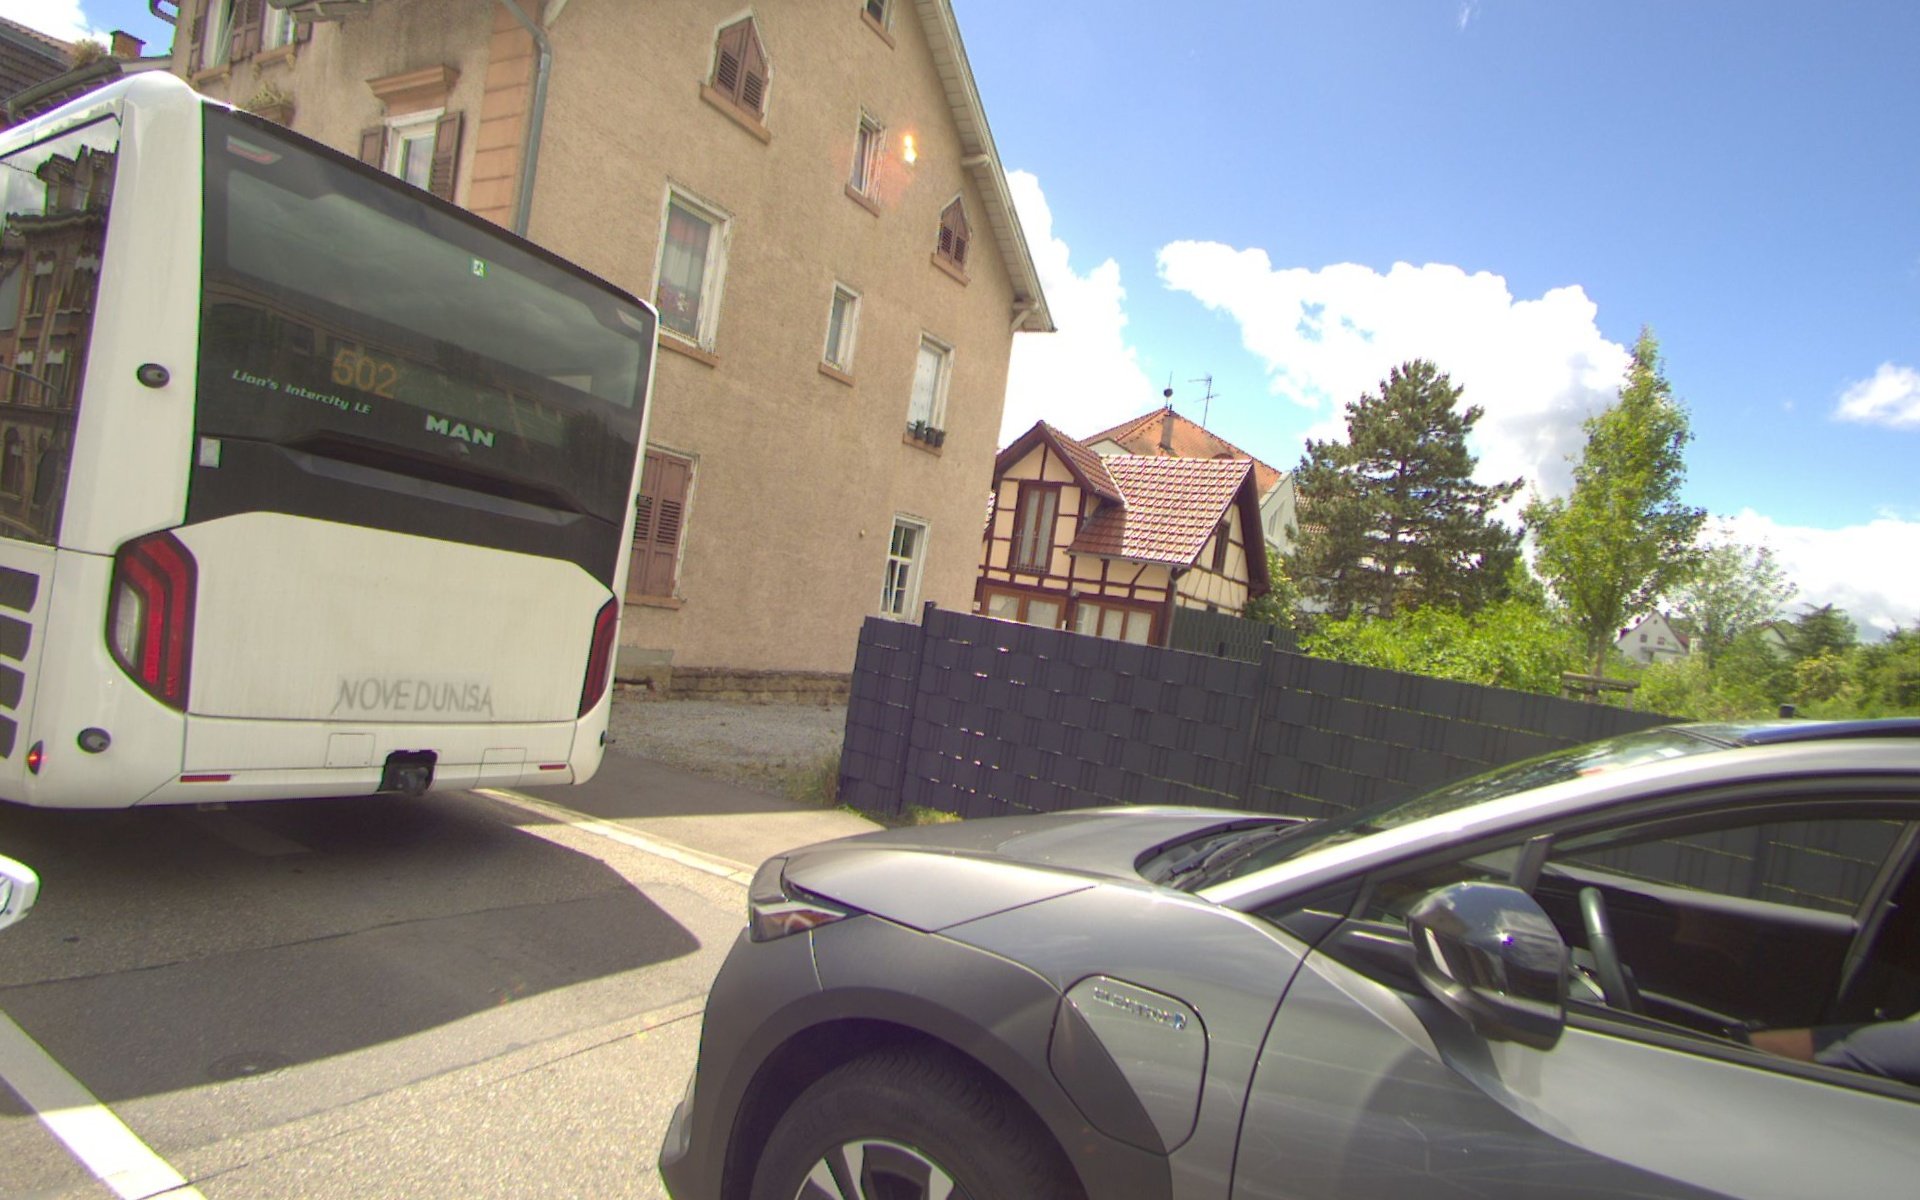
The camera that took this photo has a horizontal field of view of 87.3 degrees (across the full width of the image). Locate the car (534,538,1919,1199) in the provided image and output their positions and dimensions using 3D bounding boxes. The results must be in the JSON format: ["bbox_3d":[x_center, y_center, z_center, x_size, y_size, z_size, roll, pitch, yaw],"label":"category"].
[{"bbox_3d":[1.578,0.997,1.833,4.504,1.648,1.997,7,-1,31],"label":"car"}]

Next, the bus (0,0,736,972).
[{"bbox_3d":[-7.434,-0.953,7.774,12.281,3.551,2.910,6,-2,32],"label":"bus"}]
